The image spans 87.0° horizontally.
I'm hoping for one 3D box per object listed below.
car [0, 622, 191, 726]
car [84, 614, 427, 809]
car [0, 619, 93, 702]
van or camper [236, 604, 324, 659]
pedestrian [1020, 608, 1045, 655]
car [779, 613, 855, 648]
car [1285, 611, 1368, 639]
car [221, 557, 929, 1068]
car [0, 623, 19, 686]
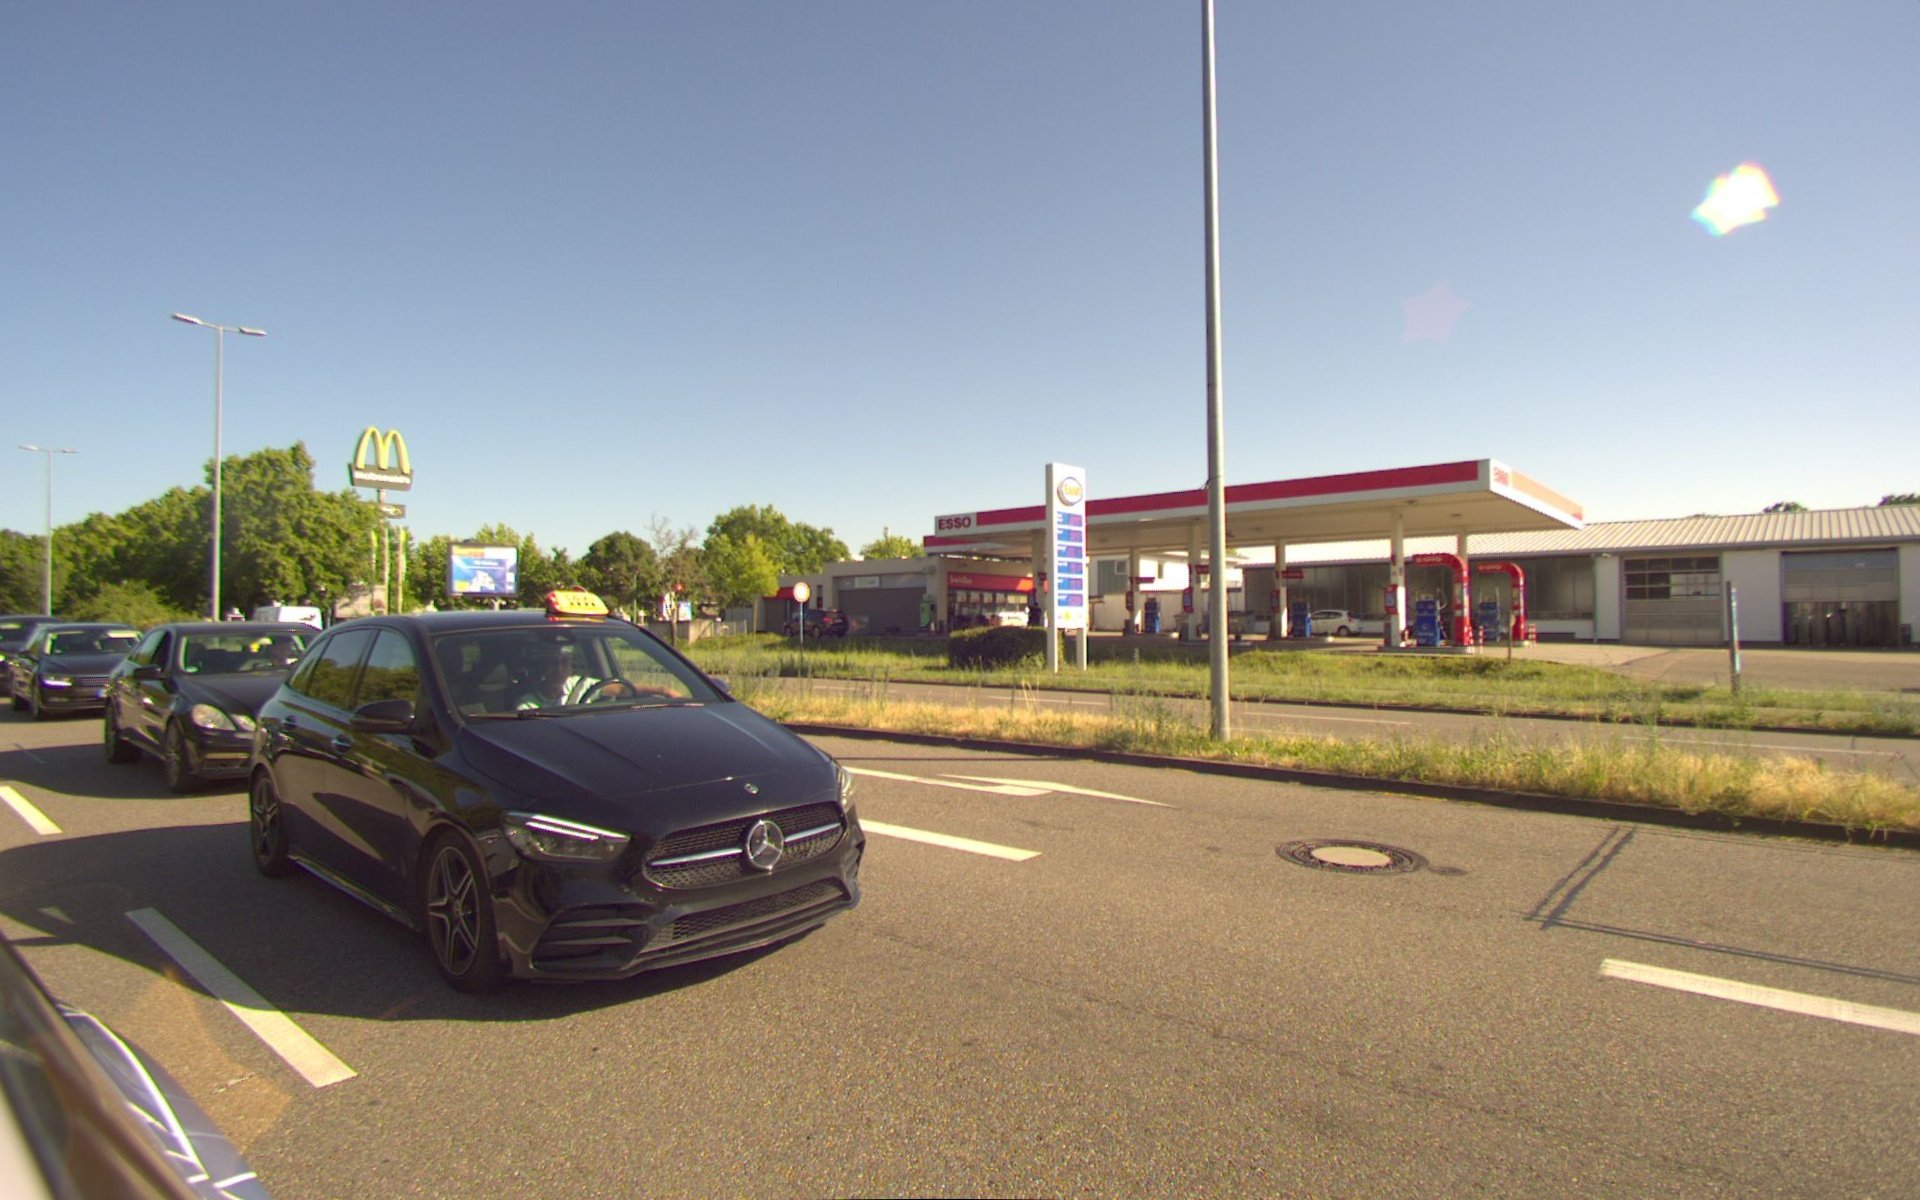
[{"bbox_3d":[-14.430,1.133,16.771,4.401,1.492,1.838,-2,-2,41],"label":"car"},{"bbox_3d":[-7.210,0.938,10.177,4.401,1.535,1.838,-2,-2,41],"label":"car"},{"bbox_3d":[-20.066,1.234,21.540,4.401,1.600,1.838,-2,-2,41],"label":"car"},{"bbox_3d":[-34.026,1.553,50.554,6.754,2.592,2.154,-1,-2,43],"label":"van or camper"},{"bbox_3d":[3.187,1.387,44.788,0.840,2.029,0.694,-2,-2,41],"label":"pedestrian"},{"bbox_3d":[-7.793,1.647,54.995,4.117,1.783,1.972,-2,-1,43],"label":"car"},{"bbox_3d":[19.842,1.351,54.868,3.844,1.450,1.730,-2,-2,39],"label":"car"},{"bbox_3d":[-2.288,0.736,5.336,4.187,1.638,1.780,-2,-2,42],"label":"car"},{"bbox_3d":[-26.295,1.424,26.605,4.401,1.600,1.838,-2,-2,41],"label":"car"}]
